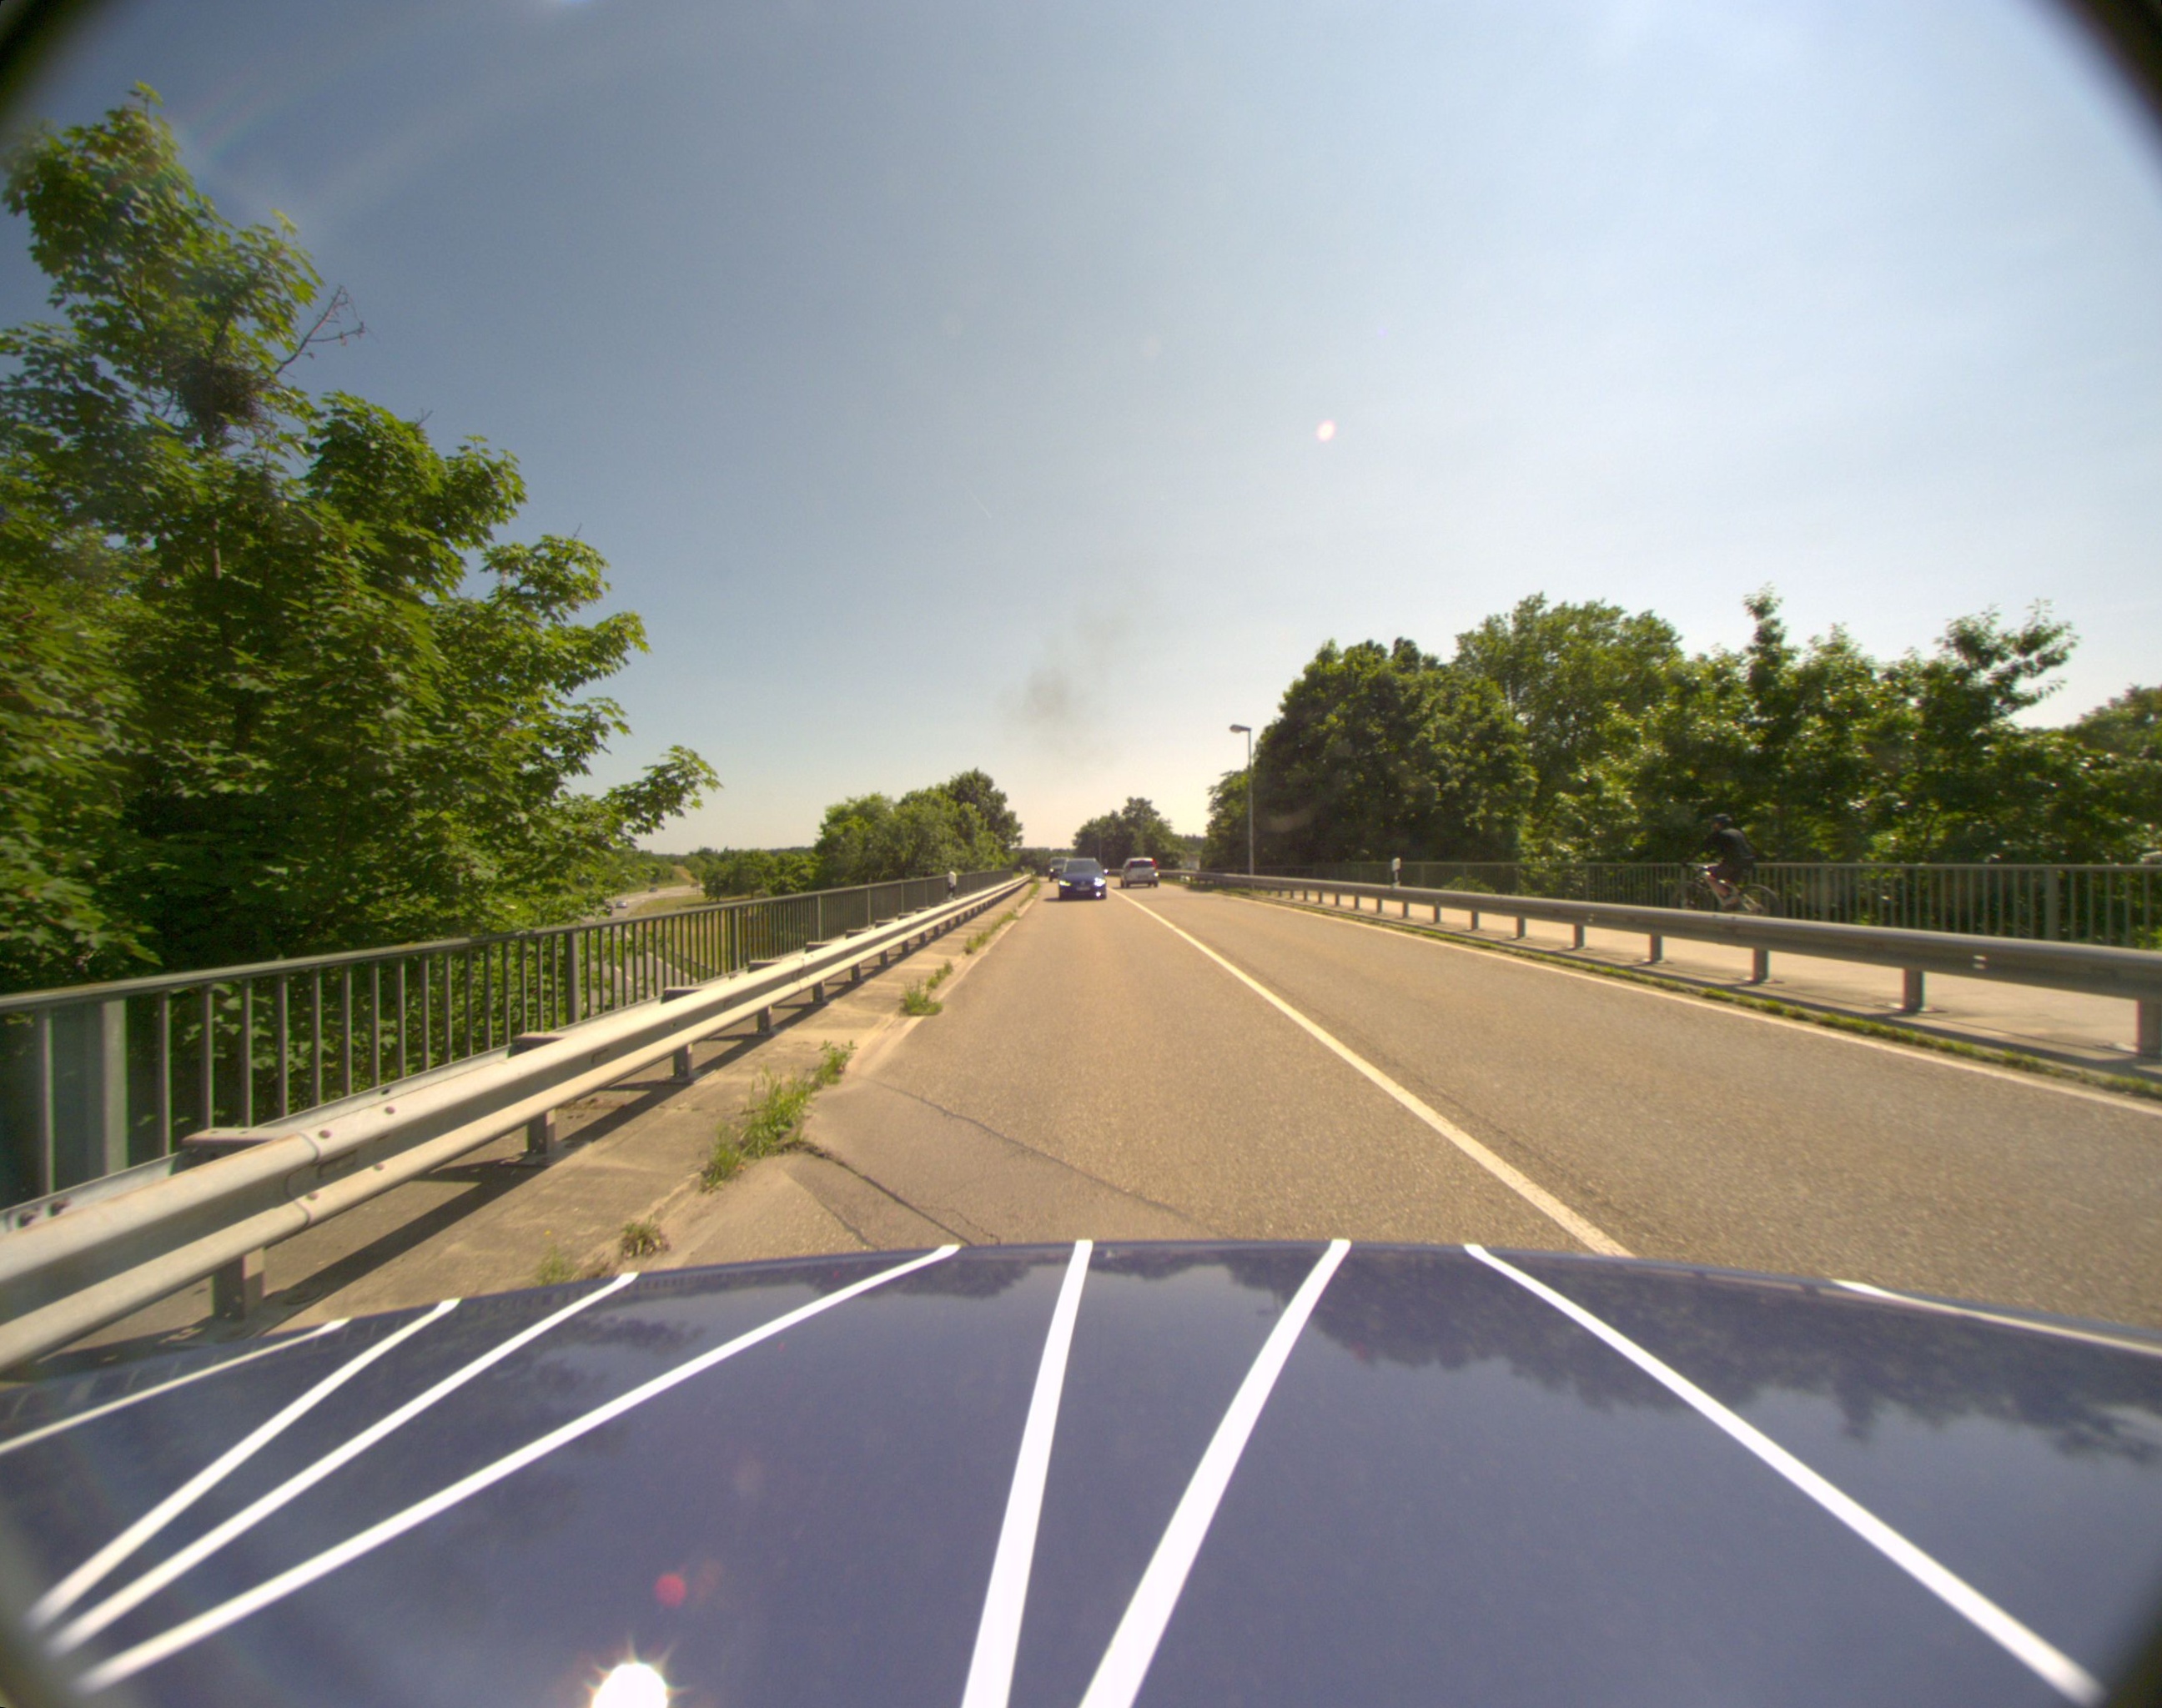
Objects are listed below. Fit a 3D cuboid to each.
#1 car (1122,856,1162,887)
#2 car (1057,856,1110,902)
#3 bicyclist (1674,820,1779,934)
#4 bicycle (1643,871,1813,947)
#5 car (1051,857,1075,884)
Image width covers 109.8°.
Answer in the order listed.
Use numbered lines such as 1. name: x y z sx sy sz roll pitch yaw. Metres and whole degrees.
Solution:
1. car: 3.147 0.868 39.715 1.672 1.508 3.665 -2 0 -1
2. car: 0.073 0.911 29.446 1.828 1.591 4.195 -2 0 0
3. bicyclist: 9.621 0.335 11.358 0.767 1.624 0.895 -1 0 -3
4. bicycle: 9.602 0.775 11.412 0.679 0.995 2.118 -1 0 -2
5. car: -1.471 1.302 61.935 1.779 2.007 4.000 -2 0 0
